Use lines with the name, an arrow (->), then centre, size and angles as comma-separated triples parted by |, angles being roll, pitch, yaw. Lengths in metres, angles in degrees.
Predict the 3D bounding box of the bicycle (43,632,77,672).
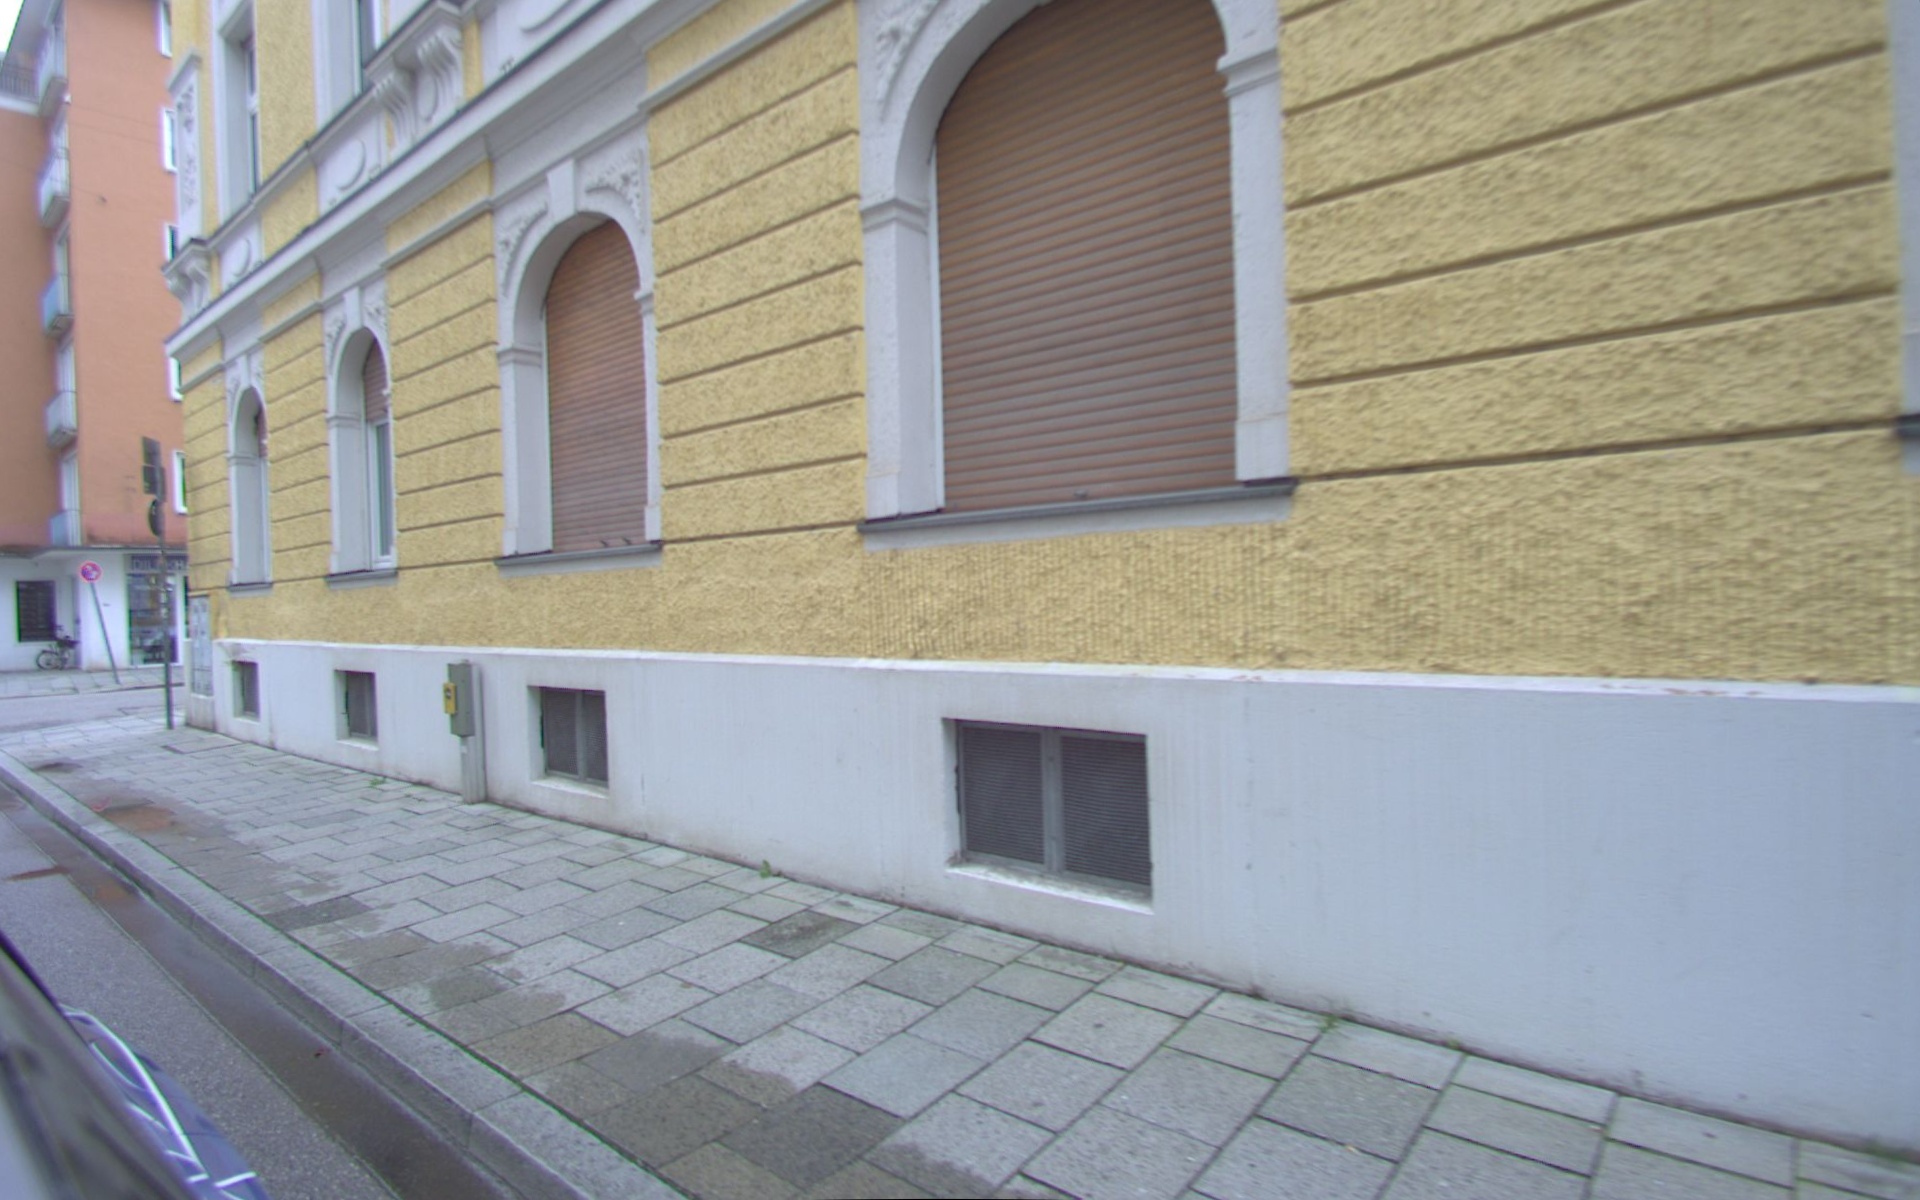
bicycle -> -22.223, 1.265, 24.979 | 1.513, 0.936, 0.465 | -1, 0, 42

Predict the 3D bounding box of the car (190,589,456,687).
car -> -13.960, 0.787, 22.367 | 1.934, 1.861, 4.615 | -7, -4, 44
